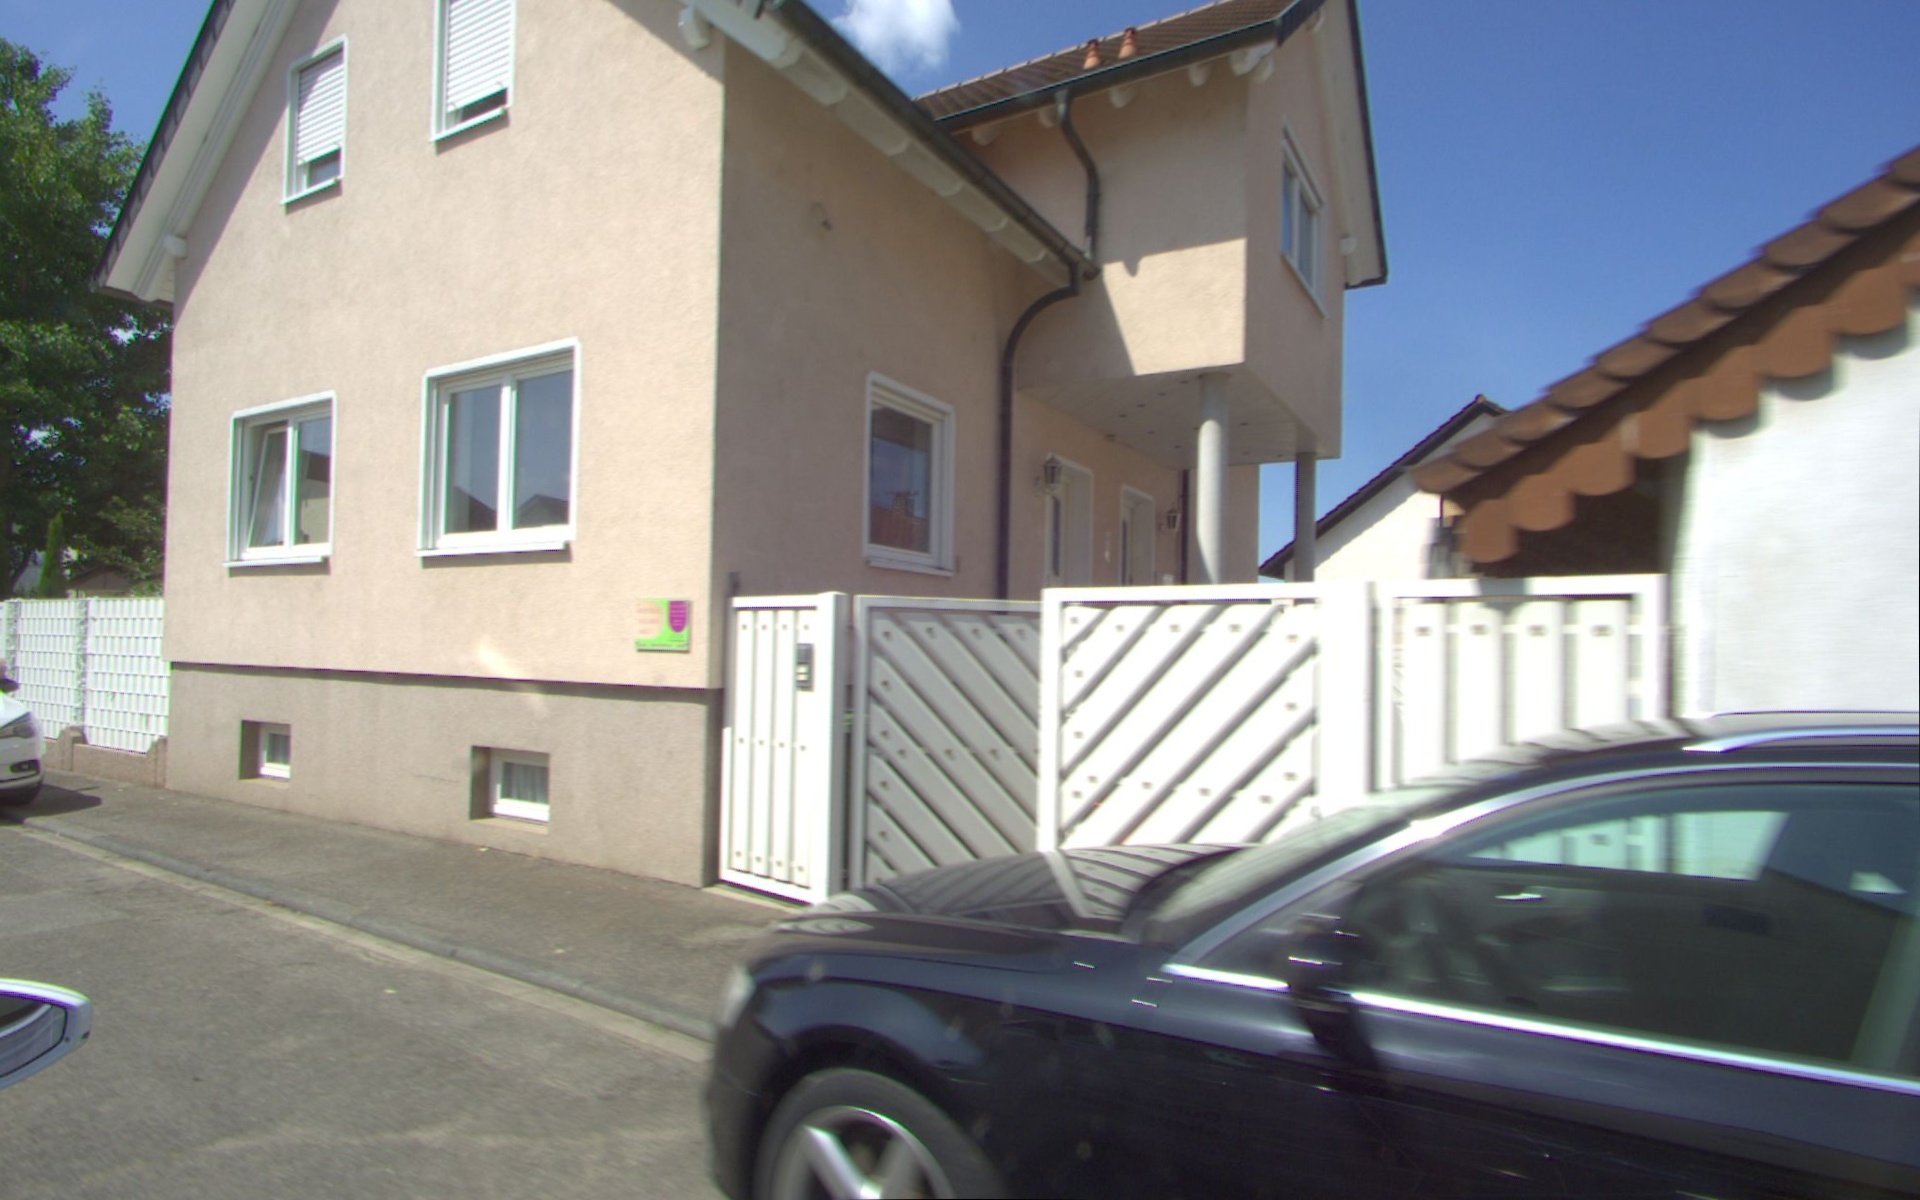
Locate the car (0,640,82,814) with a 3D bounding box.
[{"bbox_3d":[-10.274,1.065,9.308,4.669,1.446,1.894,-1,-4,32],"label":"car"}]

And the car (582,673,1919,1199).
[{"bbox_3d":[1.571,0.904,1.901,4.671,1.382,1.893,-1,-4,34],"label":"car"}]
